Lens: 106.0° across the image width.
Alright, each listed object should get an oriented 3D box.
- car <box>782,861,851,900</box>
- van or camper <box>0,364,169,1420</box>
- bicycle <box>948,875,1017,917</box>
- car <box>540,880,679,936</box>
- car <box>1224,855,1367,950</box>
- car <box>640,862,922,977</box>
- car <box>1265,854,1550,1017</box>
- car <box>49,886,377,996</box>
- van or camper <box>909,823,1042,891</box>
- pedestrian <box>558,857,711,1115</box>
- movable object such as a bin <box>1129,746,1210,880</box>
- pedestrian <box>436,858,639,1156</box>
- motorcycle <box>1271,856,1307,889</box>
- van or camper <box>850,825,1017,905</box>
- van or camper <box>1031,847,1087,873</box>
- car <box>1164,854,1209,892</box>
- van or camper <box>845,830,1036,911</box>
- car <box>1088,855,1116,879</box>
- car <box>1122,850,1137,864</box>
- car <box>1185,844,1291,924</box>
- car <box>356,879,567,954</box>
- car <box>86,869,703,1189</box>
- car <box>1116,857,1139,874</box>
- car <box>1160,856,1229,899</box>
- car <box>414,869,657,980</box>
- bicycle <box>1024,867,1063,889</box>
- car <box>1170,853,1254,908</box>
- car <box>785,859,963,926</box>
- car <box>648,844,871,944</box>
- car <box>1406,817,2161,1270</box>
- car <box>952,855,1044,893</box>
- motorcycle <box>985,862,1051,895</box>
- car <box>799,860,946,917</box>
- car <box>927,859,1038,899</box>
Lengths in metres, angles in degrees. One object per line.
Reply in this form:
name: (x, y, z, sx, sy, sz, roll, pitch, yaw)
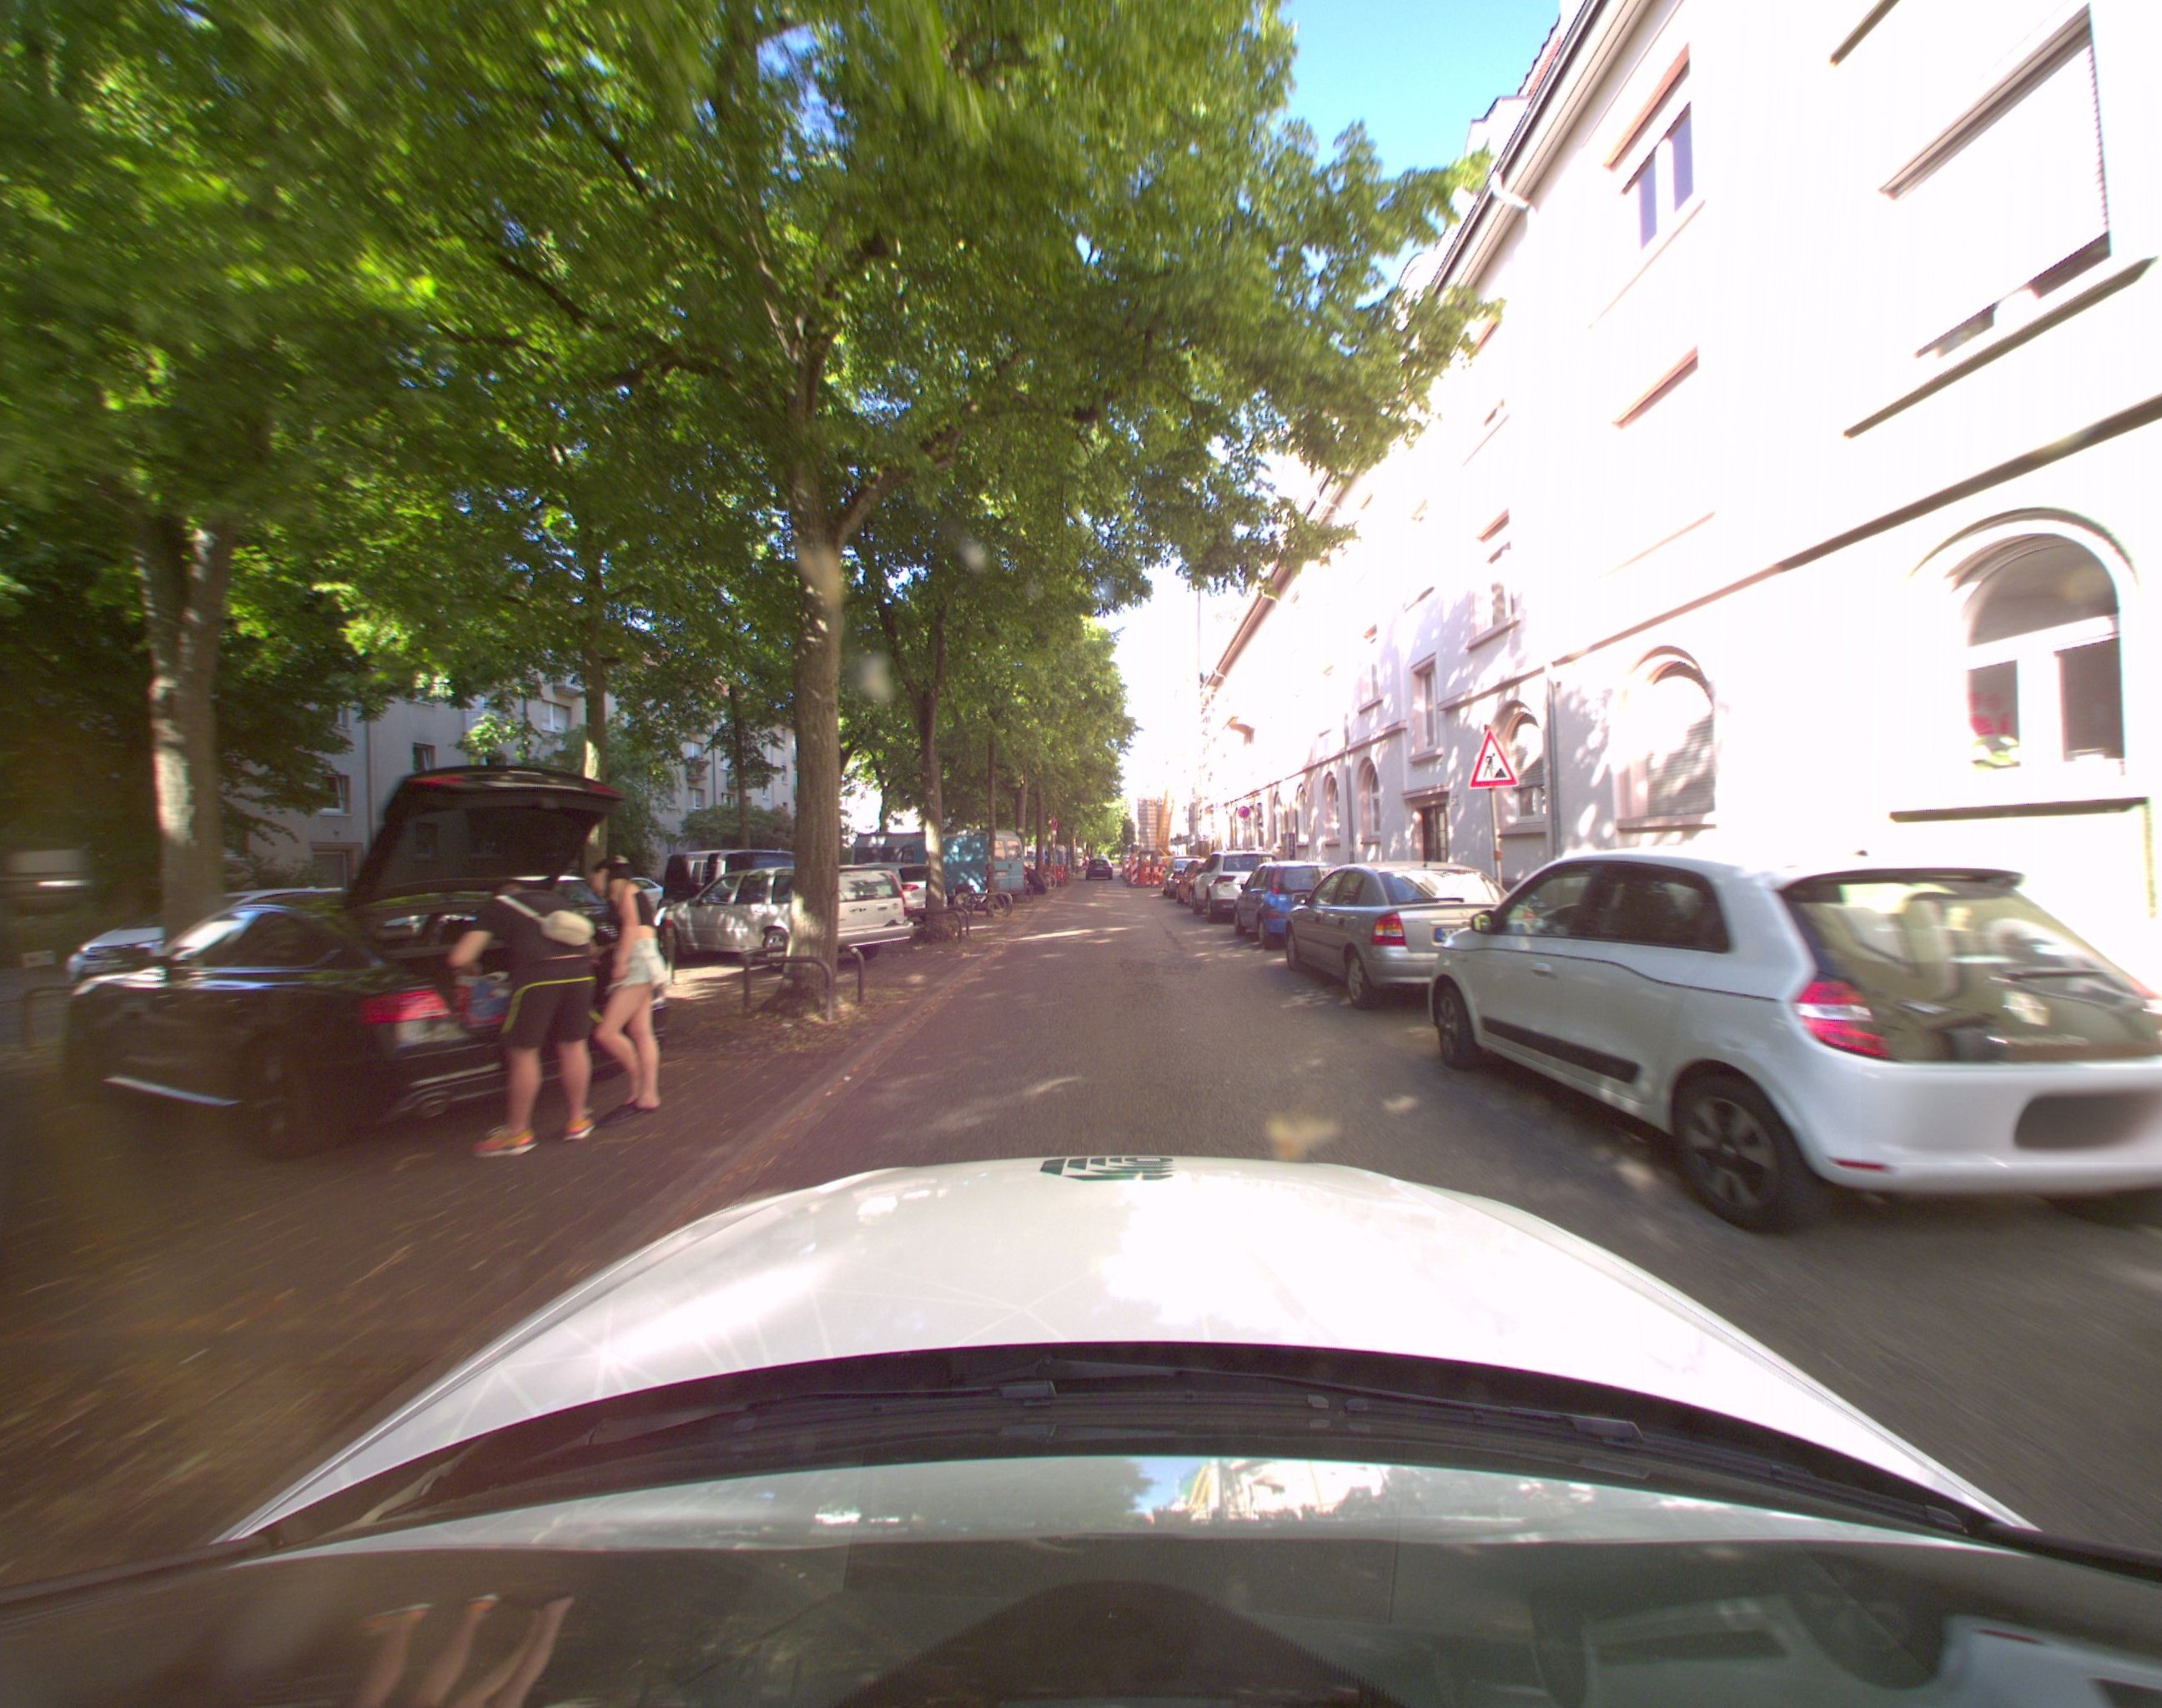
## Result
car: (-13.918, 1.353, 43.174, 1.810, 1.803, 4.849, -3, 0, 3)
van or camper: (-6.567, 0.230, 3.186, 7.157, 2.929, 2.328, -2, 0, 28)
bicycle: (-2.595, 1.089, 21.532, 1.729, 1.006, 0.507, -2, 0, -29)
car: (-14.591, 1.626, 25.532, 1.657, 1.424, 4.364, -2, 0, 2)
car: (3.657, 0.760, 14.514, 1.611, 1.413, 3.789, -2, 0, 2)
car: (-4.675, 0.910, 12.439, 4.431, 1.443, 1.743, -2, 0, 34)
car: (3.414, 0.736, 9.399, 1.625, 1.413, 4.088, -2, 0, 0)
car: (-15.010, 1.416, 14.428, 1.657, 1.499, 3.771, -2, 0, 2)
van or camper: (-5.563, 0.192, 42.644, 6.592, 3.241, 2.511, -2, 0, 30)
pedestrian: (-2.722, 0.758, 4.983, 0.609, 1.456, 0.522, -2, 0, 24)
movable object such as a bin: (4.711, -2.063, 43.325, 3.445, 6.759, 2.383, -2, -1, 34)
pedestrian: (-2.942, 0.767, 4.433, 0.703, 1.456, 0.600, -2, 0, 24)
motorcycle: (7.786, 0.682, 30.551, 0.547, 1.193, 1.831, -2, 0, -10)
van or camper: (-5.409, 0.421, 29.526, 5.811, 2.637, 2.269, -2, 0, 31)
van or camper: (-2.291, 0.666, 84.274, 5.280, 2.474, 2.308, -2, 0, 33)
car: (4.472, 0.772, 34.918, 1.586, 1.531, 2.780, -1, 0, 1)
van or camper: (-4.372, 0.532, 25.254, 5.447, 2.275, 2.233, -2, 0, 25)
car: (1.379, 0.868, 54.979, 1.791, 1.503, 3.586, -2, 0, 1)
car: (6.664, 0.382, 111.539, 1.791, 1.800, 3.586, -2, 0, 1)
car: (3.686, 0.655, 19.913, 1.810, 1.674, 4.675, -2, 0, 2)
car: (-14.684, 1.405, 19.671, 1.657, 1.424, 4.298, -2, 0, 2)
car: (-4.737, 0.880, 5.500, 4.274, 1.424, 1.685, -2, 0, 28)
car: (3.990, 0.964, 70.196, 1.791, 1.385, 3.586, -2, 0, 1)
car: (4.125, 0.821, 30.232, 1.987, 1.409, 4.501, -1, 0, 1)
car: (-8.349, 1.003, 12.434, 3.527, 1.424, 1.686, -2, 0, 31)
bicycle: (-1.843, 1.174, 39.843, 1.879, 1.006, 0.433, -2, -1, 25)
car: (3.995, 0.767, 25.403, 1.786, 1.523, 3.960, -2, 0, -3)
car: (-5.008, 0.904, 19.639, 3.905, 1.443, 1.858, -2, 0, 29)
car: (-6.551, 0.765, 16.454, 4.501, 1.764, 1.822, -2, 0, 32)
car: (3.389, 0.653, 4.637, 1.625, 1.534, 3.592, -2, 0, 0)
car: (-3.944, 0.949, 38.640, 3.916, 1.629, 1.834, -2, 0, 27)
motorcycle: (-2.579, 0.984, 33.407, 2.534, 1.258, 0.765, -2, 0, 9)
car: (-5.920, 0.959, 23.046, 3.947, 1.431, 1.732, -2, 0, 32)
car: (-3.855, 0.990, 31.838, 3.915, 1.414, 1.834, -2, 0, 29)
